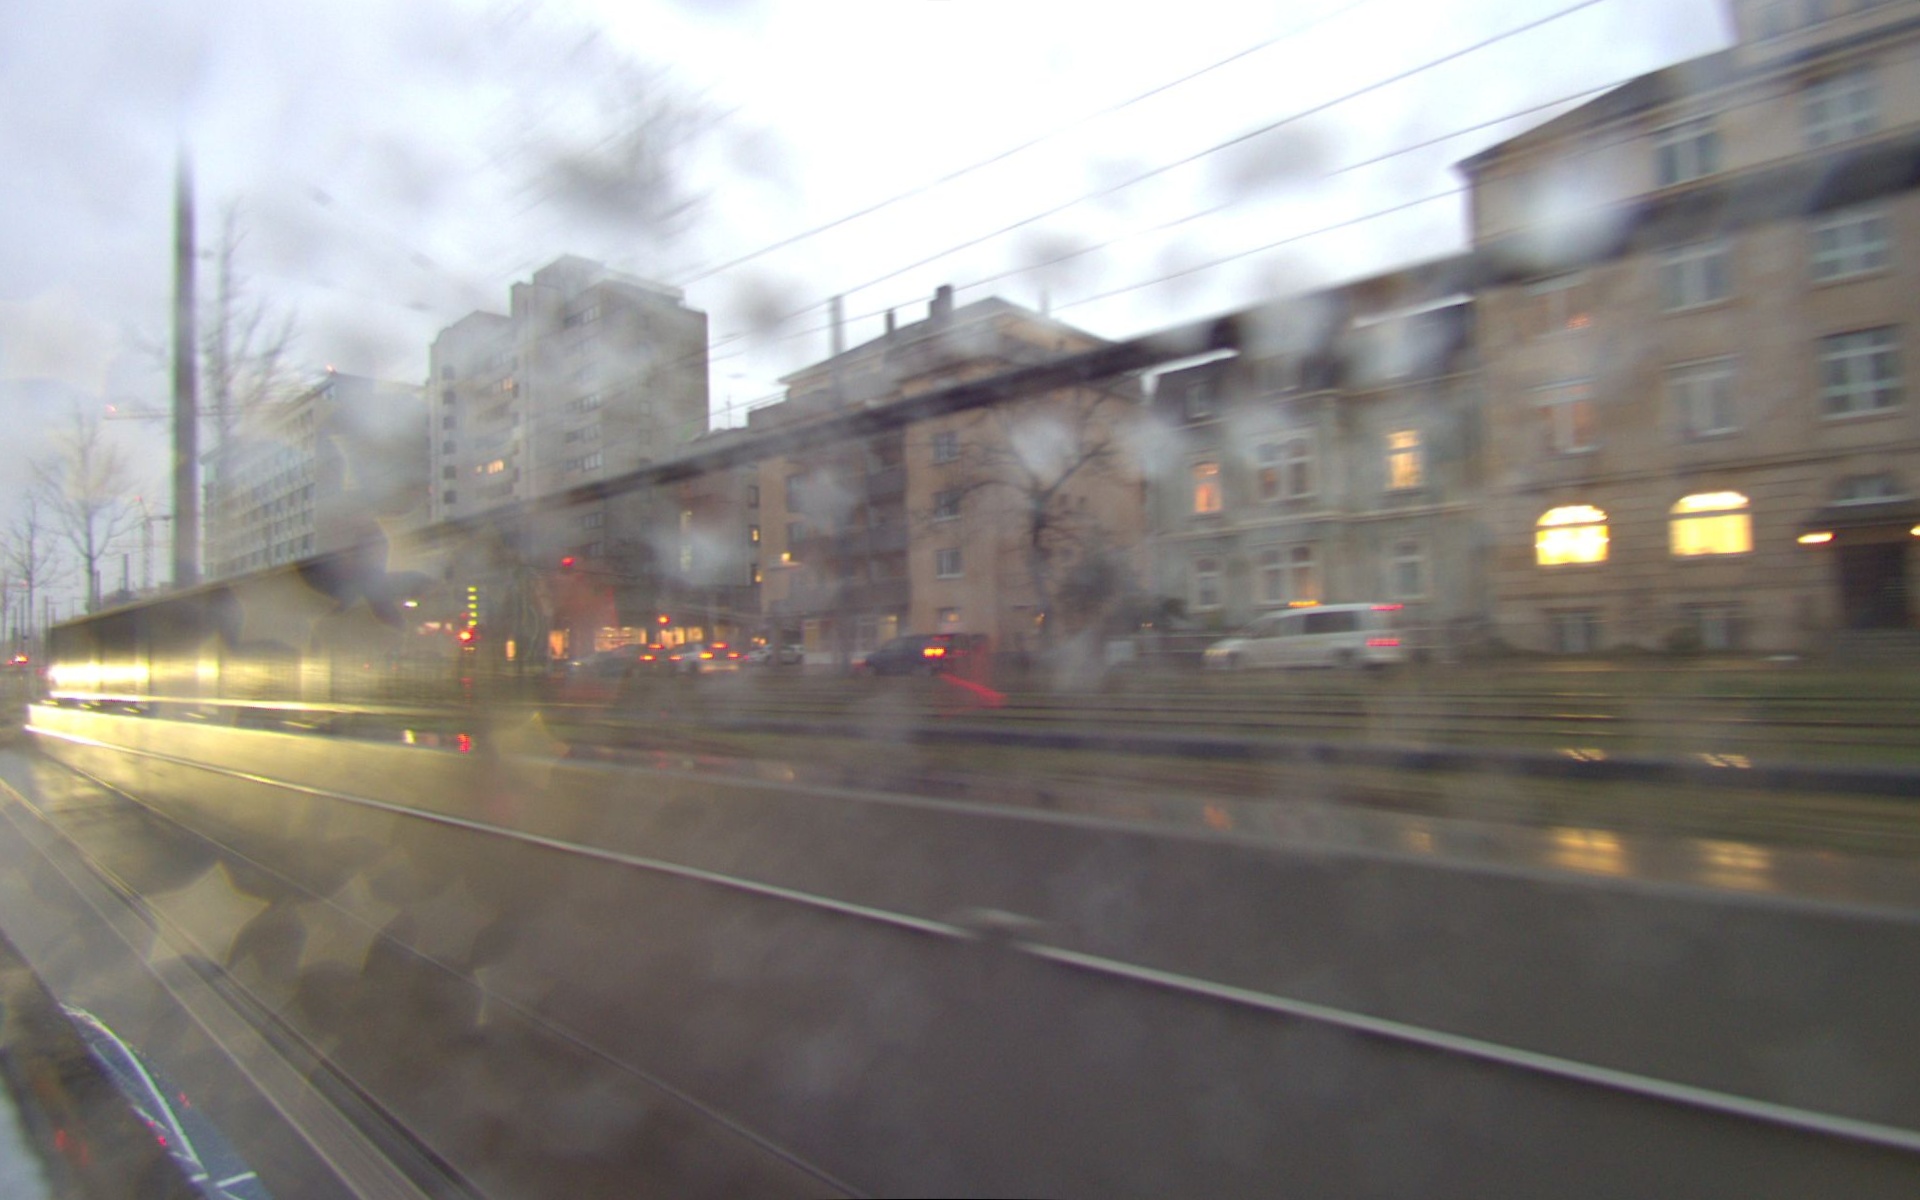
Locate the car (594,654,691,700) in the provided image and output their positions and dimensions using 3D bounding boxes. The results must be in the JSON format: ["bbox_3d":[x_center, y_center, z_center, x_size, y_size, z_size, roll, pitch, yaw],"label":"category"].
[{"bbox_3d":[-12.445,2.968,39.509,3.999,1.597,1.782,-3,-1,42],"label":"car"}]

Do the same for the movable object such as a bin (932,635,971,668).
[{"bbox_3d":[-0.395,2.380,46.708,1.423,1.492,1.096,-5,-4,40],"label":"movable object such as a bin"}]

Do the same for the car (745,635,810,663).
[{"bbox_3d":[-11.516,3.083,64.001,1.777,1.564,3.786,-4,-3,41],"label":"car"}]

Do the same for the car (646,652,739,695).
[{"bbox_3d":[-11.042,3.009,41.670,3.999,1.597,1.782,-3,-1,42],"label":"car"}]

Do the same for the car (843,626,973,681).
[{"bbox_3d":[-1.811,1.832,34.459,4.104,1.705,1.975,-4,-4,37],"label":"car"}]

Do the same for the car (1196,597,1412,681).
[{"bbox_3d":[8.915,1.081,26.472,4.908,1.948,1.973,-5,-4,40],"label":"car"}]
